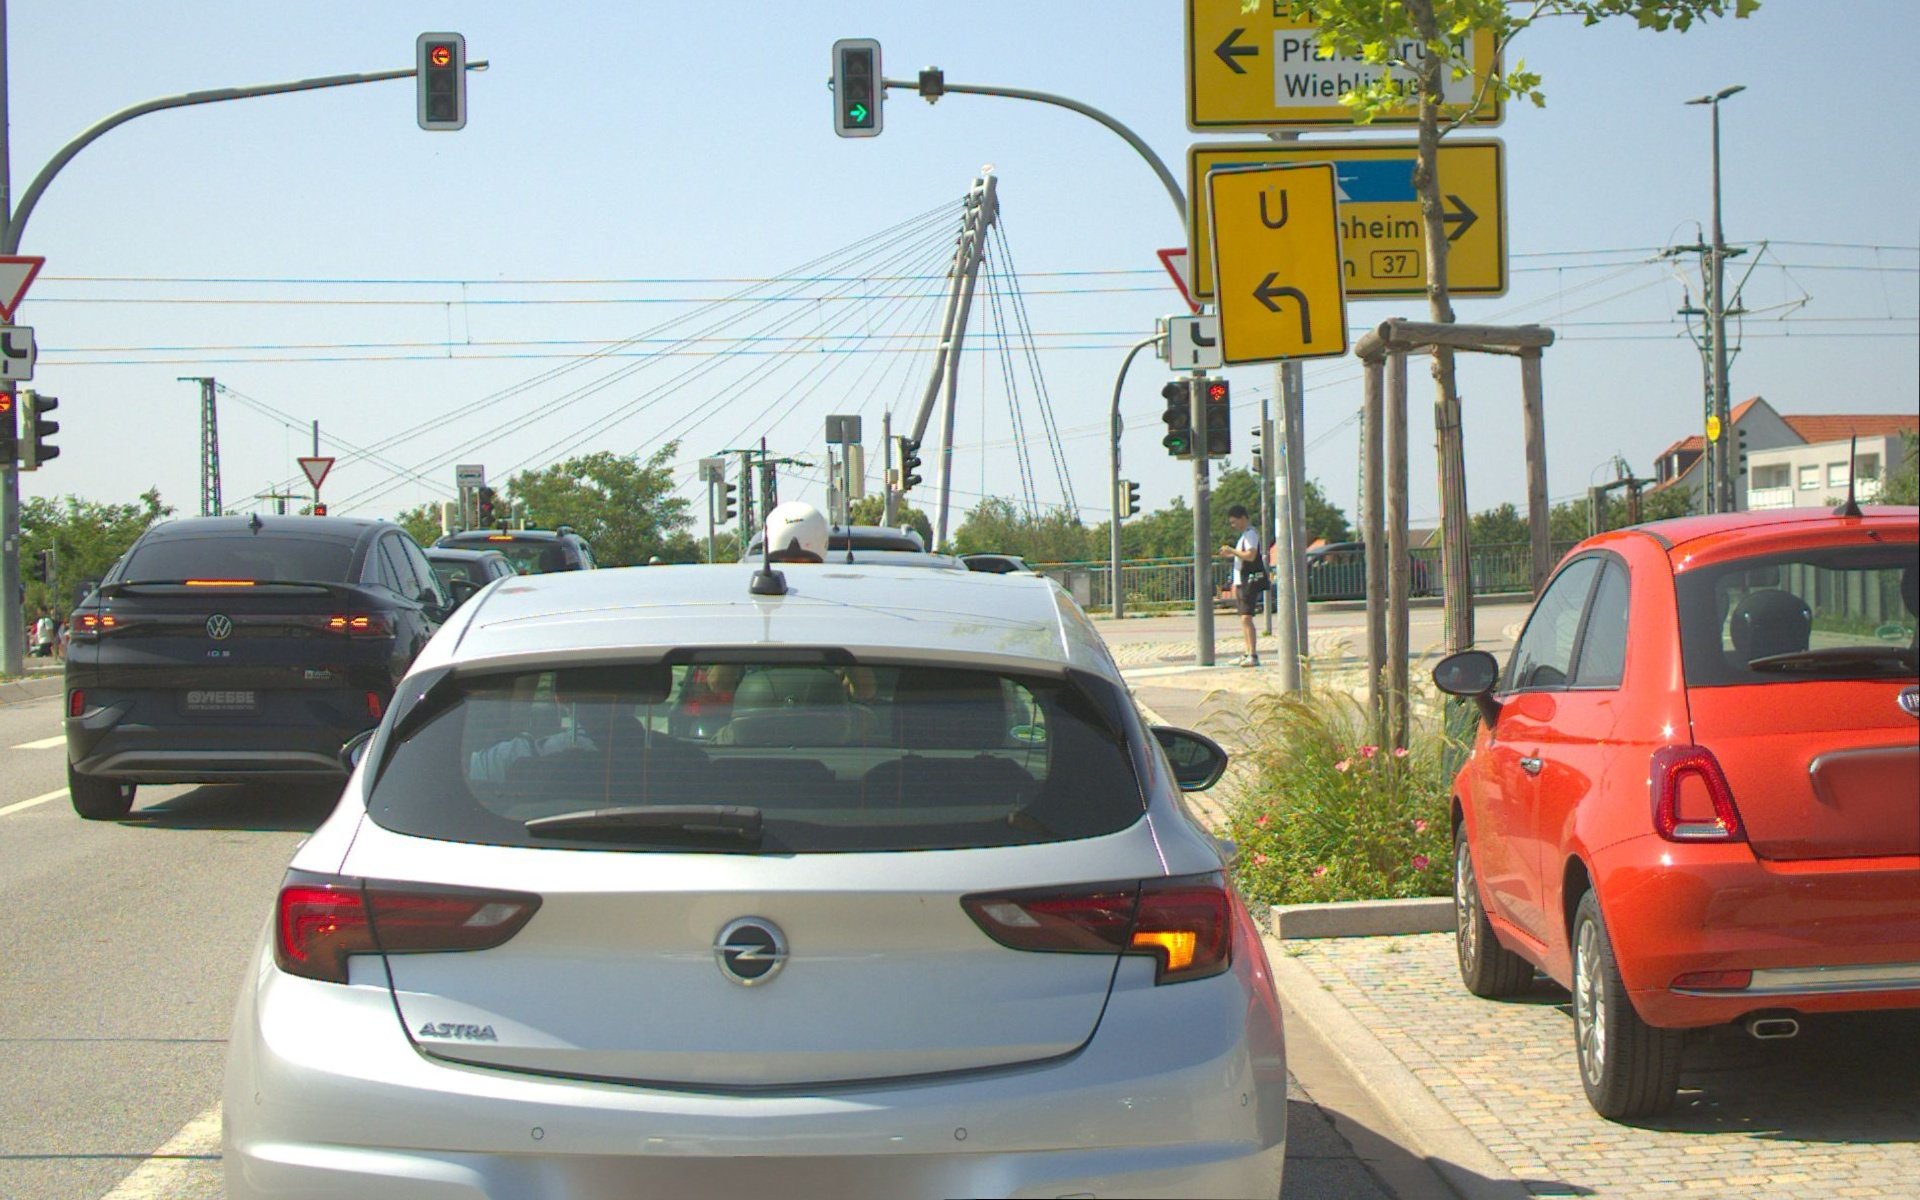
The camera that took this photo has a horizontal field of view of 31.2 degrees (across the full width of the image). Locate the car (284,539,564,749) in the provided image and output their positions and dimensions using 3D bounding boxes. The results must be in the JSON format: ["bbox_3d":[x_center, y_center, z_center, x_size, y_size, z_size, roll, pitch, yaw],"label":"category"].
[{"bbox_3d":[-3.927,0.286,25.707,1.575,1.429,3.786,1,1,-1],"label":"car"}]

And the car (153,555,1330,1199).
[{"bbox_3d":[-0.431,0.660,7.134,1.742,1.473,4.001,1,1,-3],"label":"car"}]

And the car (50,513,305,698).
[{"bbox_3d":[-6.977,0.026,30.975,1.597,1.542,3.763,1,1,-3],"label":"car"}]

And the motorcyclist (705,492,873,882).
[{"bbox_3d":[-0.622,0.306,12.602,0.581,1.384,0.707,1,0,-2],"label":"motorcyclist"}]

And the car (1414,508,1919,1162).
[{"bbox_3d":[2.328,0.512,9.760,1.610,1.491,3.352,-2,1,1],"label":"car"}]

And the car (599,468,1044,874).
[{"bbox_3d":[-0.653,0.264,17.780,1.993,1.814,4.402,1,2,-1],"label":"car"}]

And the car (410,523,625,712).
[{"bbox_3d":[-4.015,0.132,31.637,1.649,1.610,3.821,1,1,-3],"label":"car"}]

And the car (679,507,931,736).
[{"bbox_3d":[-1.097,0.098,25.870,1.724,1.558,4.000,1,2,0],"label":"car"}]

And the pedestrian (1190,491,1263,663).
[{"bbox_3d":[2.892,-0.253,37.321,0.647,1.830,0.798,-2,0,-2],"label":"pedestrian"}]

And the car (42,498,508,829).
[{"bbox_3d":[-3.731,0.298,19.461,1.801,1.636,4.366,1,1,-1],"label":"car"}]
